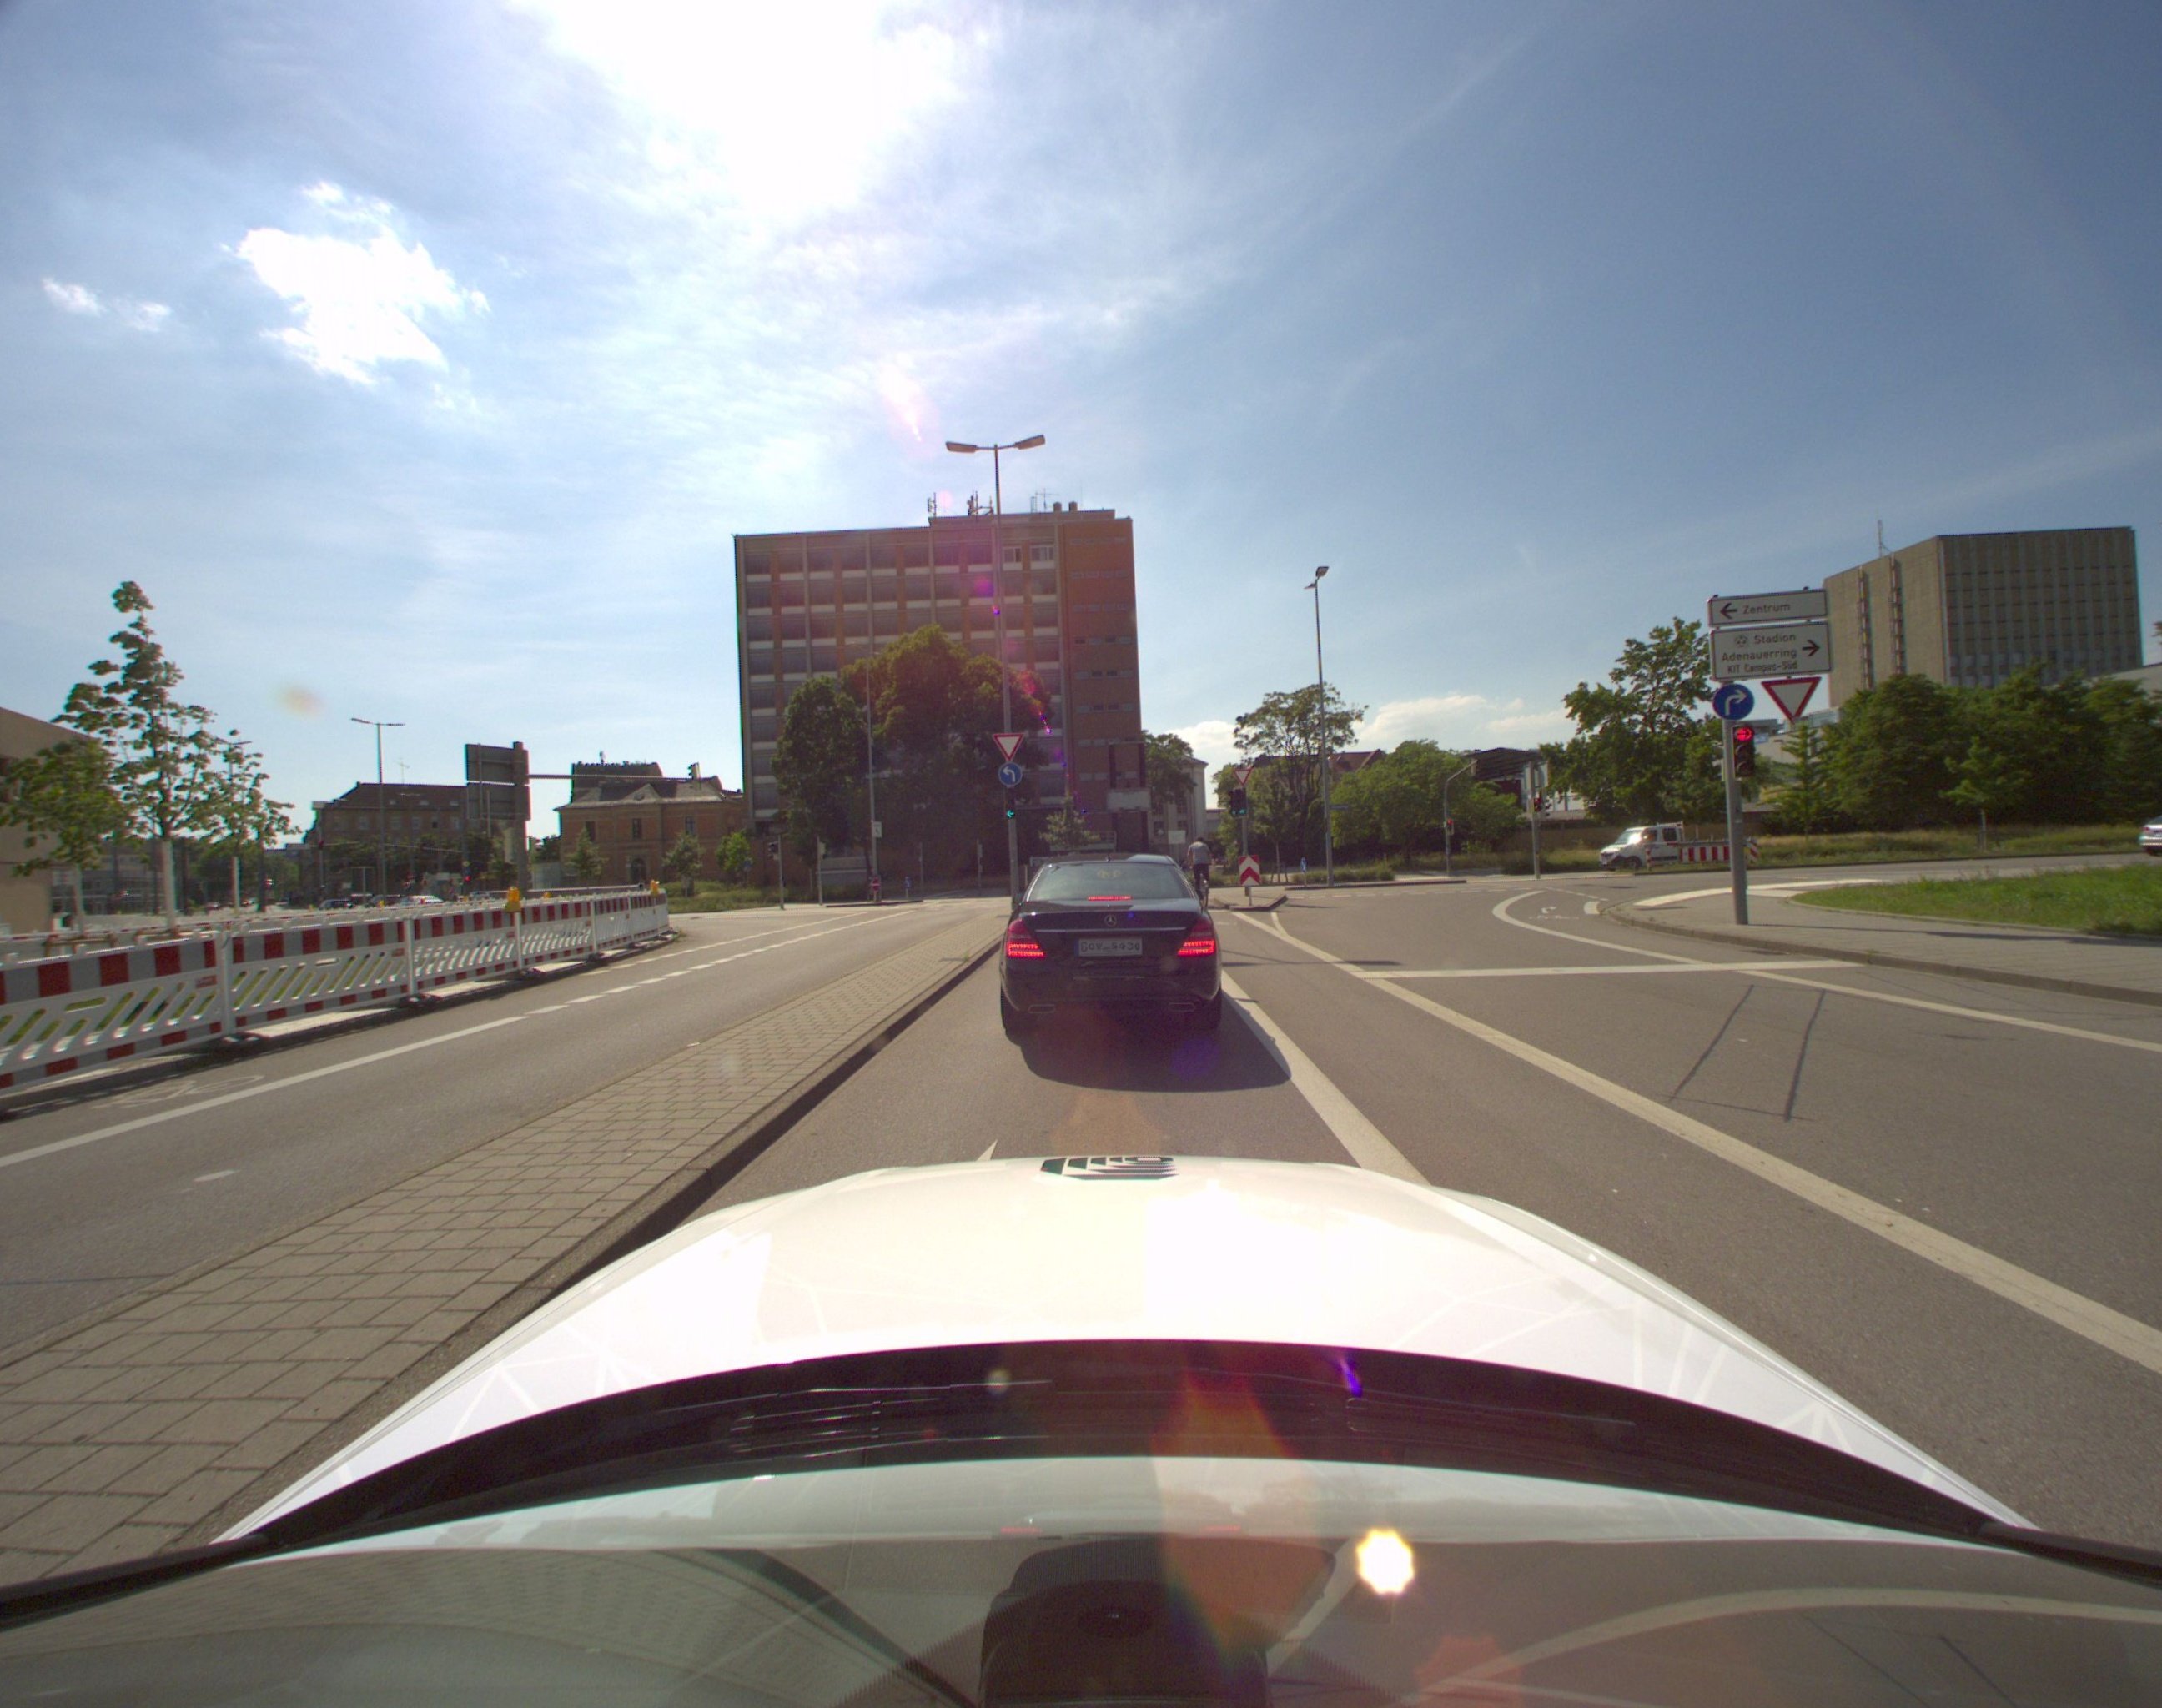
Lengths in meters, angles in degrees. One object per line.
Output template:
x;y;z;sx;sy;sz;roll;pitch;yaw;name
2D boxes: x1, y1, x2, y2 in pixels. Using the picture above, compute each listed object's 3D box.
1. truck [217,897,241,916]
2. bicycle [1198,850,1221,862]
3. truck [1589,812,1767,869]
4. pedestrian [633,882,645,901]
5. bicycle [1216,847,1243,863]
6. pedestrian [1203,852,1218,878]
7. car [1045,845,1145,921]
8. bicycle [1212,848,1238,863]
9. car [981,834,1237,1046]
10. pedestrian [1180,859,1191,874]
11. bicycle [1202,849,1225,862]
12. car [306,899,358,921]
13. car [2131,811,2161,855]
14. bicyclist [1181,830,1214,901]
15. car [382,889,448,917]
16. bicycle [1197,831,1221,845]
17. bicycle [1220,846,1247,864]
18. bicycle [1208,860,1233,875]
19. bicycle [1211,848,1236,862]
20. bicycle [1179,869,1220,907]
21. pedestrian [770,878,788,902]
-177.332;10.952;169.429;7.827;3.730;3.093;-4;-1;41;truck
16.776;0.250;106.221;2.812;1.480;0.842;-3;0;2;bicycle
29.889;-0.628;40.972;6.997;2.356;2.414;-3;-2;2;truck
-38.549;3.287;71.022;0.642;1.661;0.654;-1;-1;28;pedestrian
17.043;0.137;93.549;2.813;1.744;0.842;-3;0;1;bicycle
8.362;0.709;52.492;0.807;1.579;0.693;-3;-1;3;pedestrian
0.353;0.600;18.259;1.986;1.508;4.001;0;-1;2;car
16.789;0.176;95.033;2.813;1.649;0.842;-3;0;1;bicycle
0.296;0.652;8.325;1.851;1.530;4.716;-1;-1;2;car
8.164;0.965;63.629;0.788;1.214;0.759;-1;-1;8;pedestrian
16.962;0.244;104.321;2.813;1.500;0.842;-3;0;1;bicycle
-55.552;4.162;60.416;3.948;1.510;1.811;-3;-1;32;car
36.790;-0.783;26.226;4.151;1.420;1.582;-3;0;-5;car
3.166;0.304;22.153;0.684;1.878;0.858;-1;-1;-5;bicyclist
-47.879;3.515;58.557;3.951;1.816;2.011;-3;-1;24;car
16.047;-2.000;102.042;2.813;1.559;0.842;-3;0;1;bicycle
17.102;0.095;91.287;2.813;1.836;0.842;-3;0;1;bicycle
16.747;1.628;98.136;2.813;1.537;0.842;-3;0;1;bicycle
16.966;0.115;97.082;2.813;1.587;0.842;-3;0;1;bicycle
3.190;0.893;22.034;0.691;0.946;1.955;0;-1;-4;bicycle
-22.326;2.649;60.239;0.790;1.725;0.878;-3;-1;24;pedestrian
